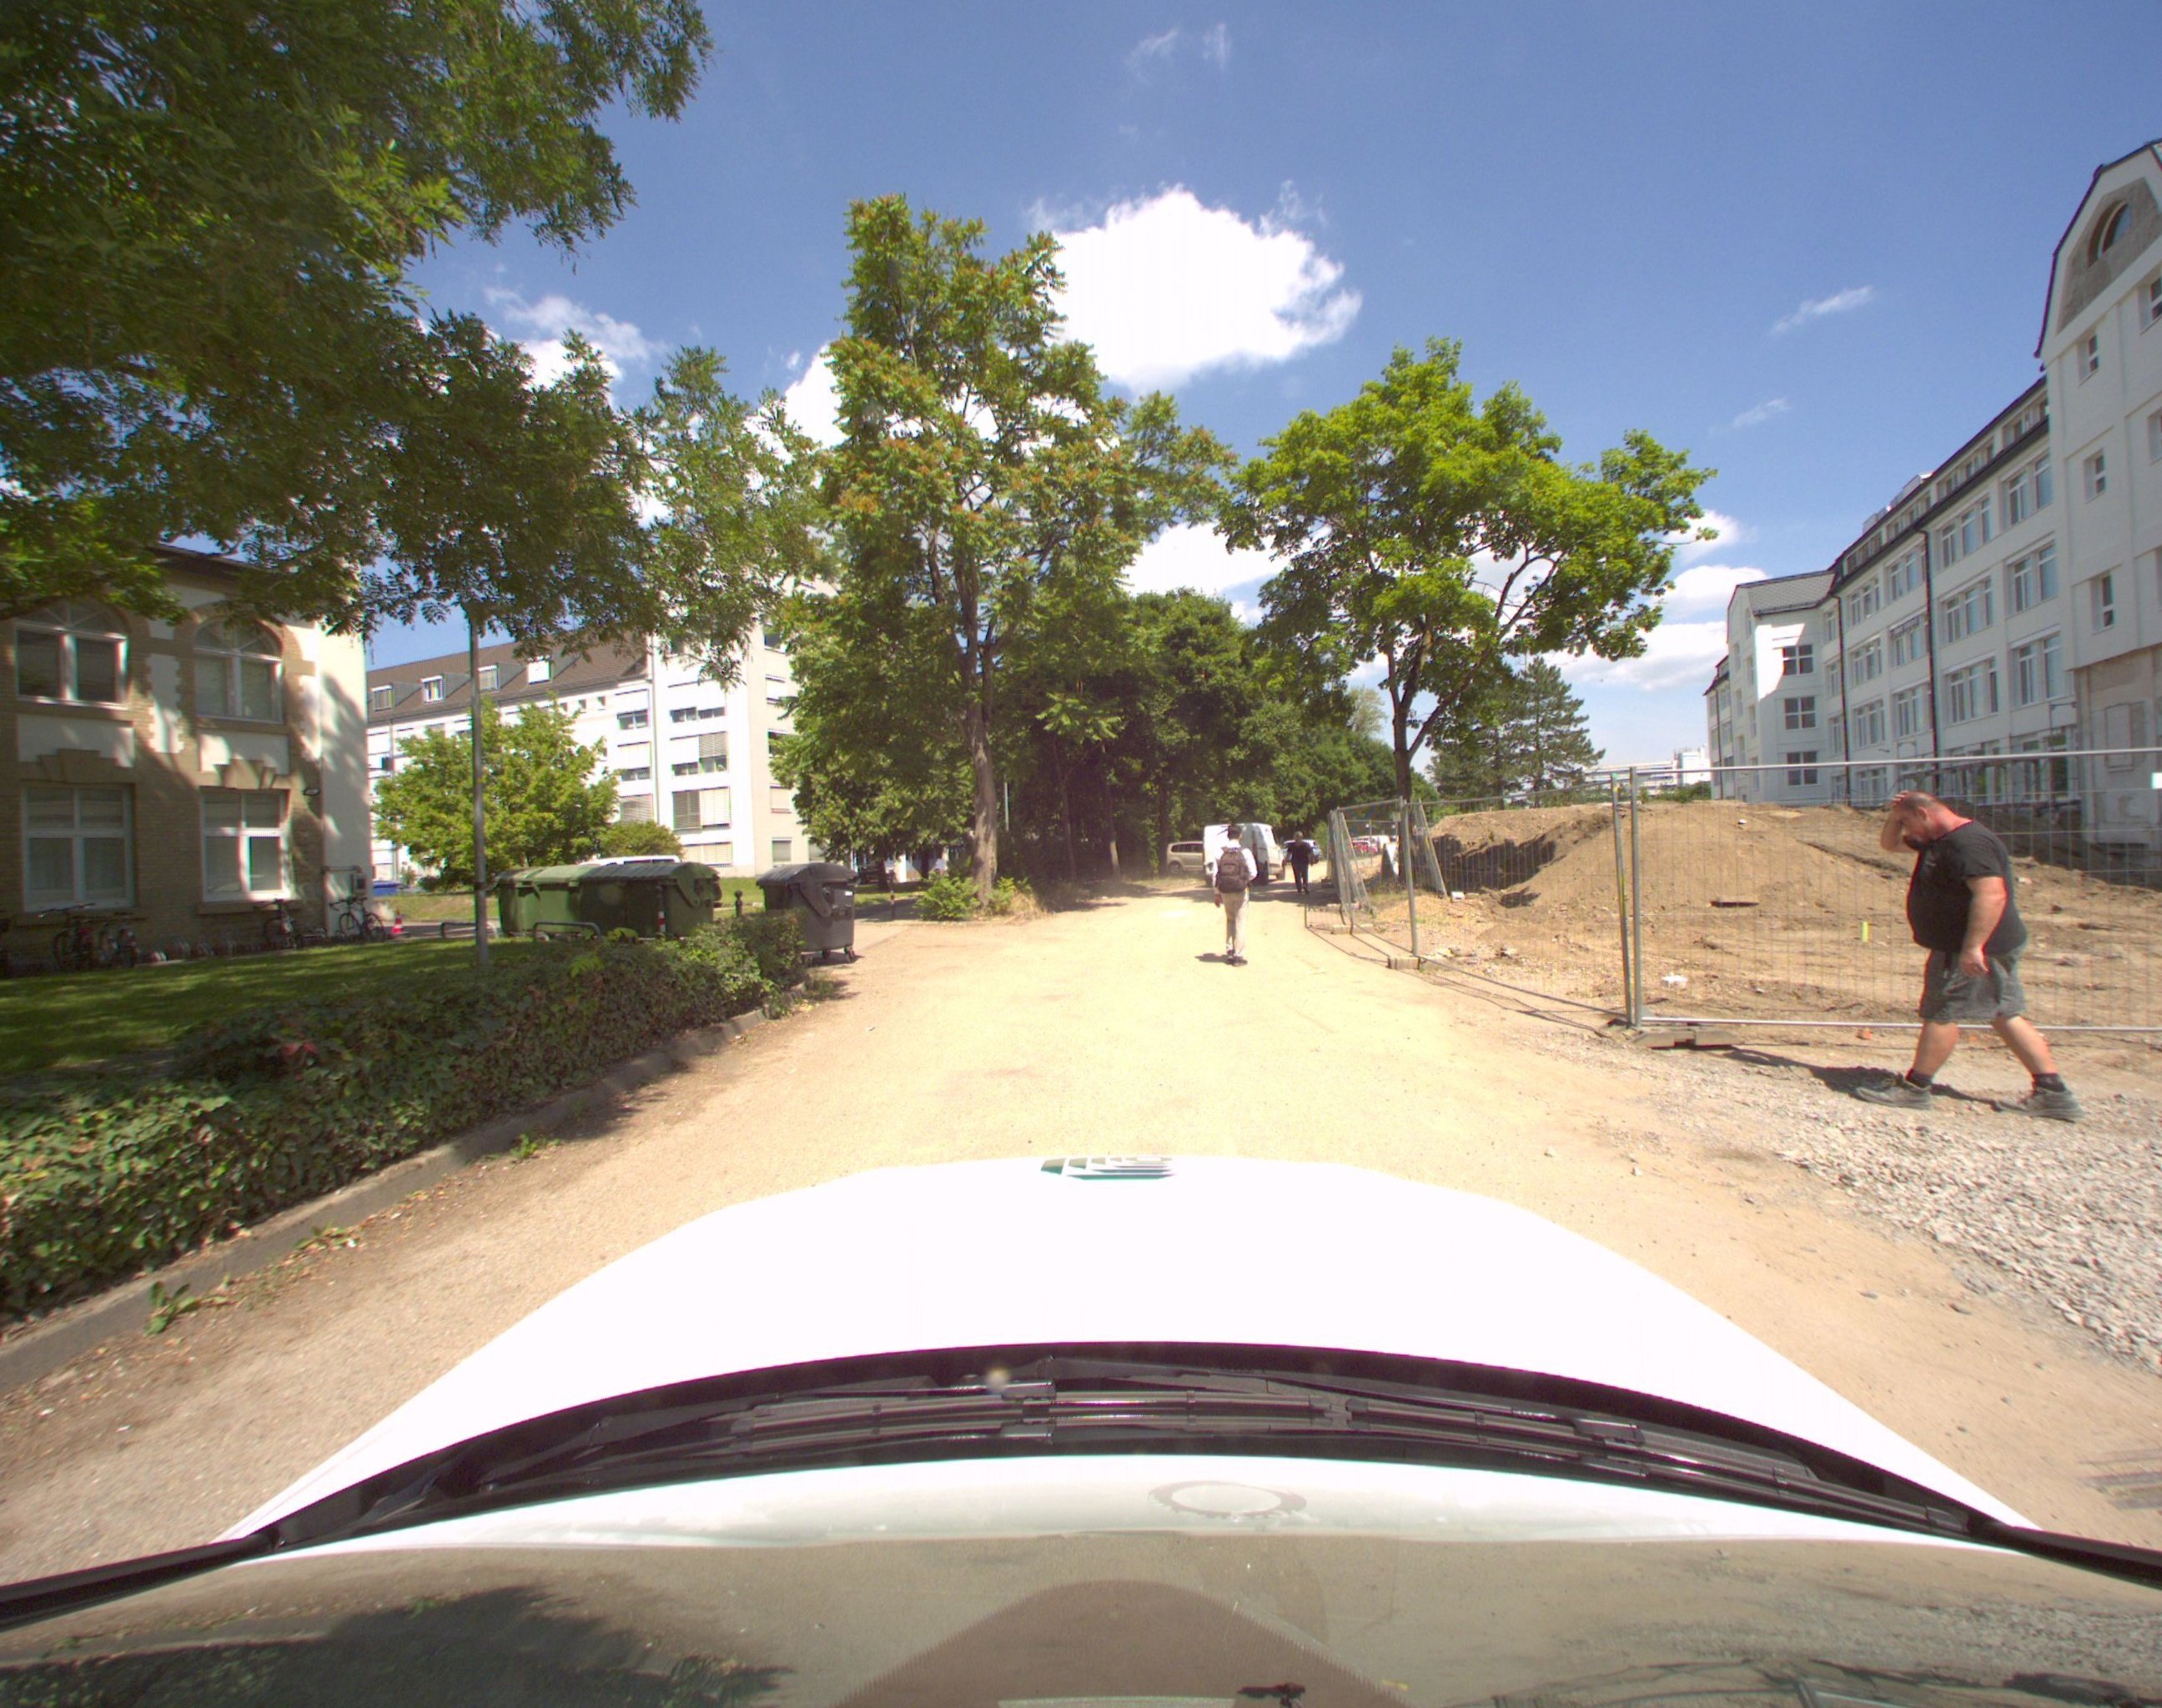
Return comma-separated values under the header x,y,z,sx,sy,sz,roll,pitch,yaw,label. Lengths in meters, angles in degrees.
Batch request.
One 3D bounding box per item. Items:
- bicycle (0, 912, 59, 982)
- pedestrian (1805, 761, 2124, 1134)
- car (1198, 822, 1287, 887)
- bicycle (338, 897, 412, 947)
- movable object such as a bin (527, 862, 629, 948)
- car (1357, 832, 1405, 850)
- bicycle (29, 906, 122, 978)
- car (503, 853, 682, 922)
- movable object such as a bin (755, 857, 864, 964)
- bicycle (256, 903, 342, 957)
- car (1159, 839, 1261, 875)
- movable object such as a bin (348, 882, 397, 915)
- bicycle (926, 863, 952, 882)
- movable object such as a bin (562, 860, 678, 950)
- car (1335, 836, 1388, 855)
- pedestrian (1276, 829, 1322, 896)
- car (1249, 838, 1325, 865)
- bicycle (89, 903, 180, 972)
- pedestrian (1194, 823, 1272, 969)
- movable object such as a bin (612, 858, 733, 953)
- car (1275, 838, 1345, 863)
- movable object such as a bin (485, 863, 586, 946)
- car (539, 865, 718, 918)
x,y,z,sx,sy,sz,roll,pitch,yaw,label
-17.177,1.451,12.950,2.232,1.011,0.611,-2,0,25,bicycle
4.843,0.458,4.576,0.955,1.819,0.876,-2,0,30,pedestrian
5.521,-0.029,27.341,1.955,1.947,4.606,-2,0,23,car
-14.889,1.416,17.166,1.707,0.958,0.617,-2,0,30,bicycle
-9.262,0.918,15.008,1.246,1.479,1.054,-2,0,29,movable object such as a bin
31.210,-1.358,84.812,4.463,1.597,1.736,-2,0,28,car
-16.873,1.440,13.653,2.231,1.082,0.611,-2,0,30,bicycle
-16.441,1.064,27.701,1.974,2.013,4.804,-3,0,29,car
-3.922,0.771,11.755,1.122,1.394,1.147,-3,0,-38,movable object such as a bin
-15.453,1.472,16.072,2.231,0.958,0.611,-2,0,30,bicycle
6.268,0.184,39.805,4.463,1.609,2.012,-2,-2,29,car
-30.134,1.890,34.651,1.145,1.326,1.228,-2,0,31,movable object such as a bin
-9.187,1.184,52.700,0.594,1.084,1.951,-2,0,27,bicycle
-8.095,0.881,14.340,1.345,1.479,1.102,-2,0,18,movable object such as a bin
26.201,-0.766,76.124,4.463,1.547,1.736,-2,1,28,car
5.579,0.205,20.906,1.028,1.650,1.053,-2,1,13,pedestrian
13.440,-0.141,53.234,4.463,1.597,1.736,-2,1,28,car
-16.526,1.415,14.199,2.231,1.082,0.611,-2,0,30,bicycle
1.920,0.502,10.374,0.869,1.729,1.083,-2,1,9,pedestrian
-6.868,0.840,13.742,1.308,1.479,1.215,-2,0,25,movable object such as a bin
16.366,-0.244,58.280,4.463,1.597,1.949,-2,0,28,car
-10.537,0.959,15.746,1.392,1.479,1.054,-2,0,29,movable object such as a bin
-14.088,1.119,25.664,1.810,1.352,4.655,-2,0,29,car
